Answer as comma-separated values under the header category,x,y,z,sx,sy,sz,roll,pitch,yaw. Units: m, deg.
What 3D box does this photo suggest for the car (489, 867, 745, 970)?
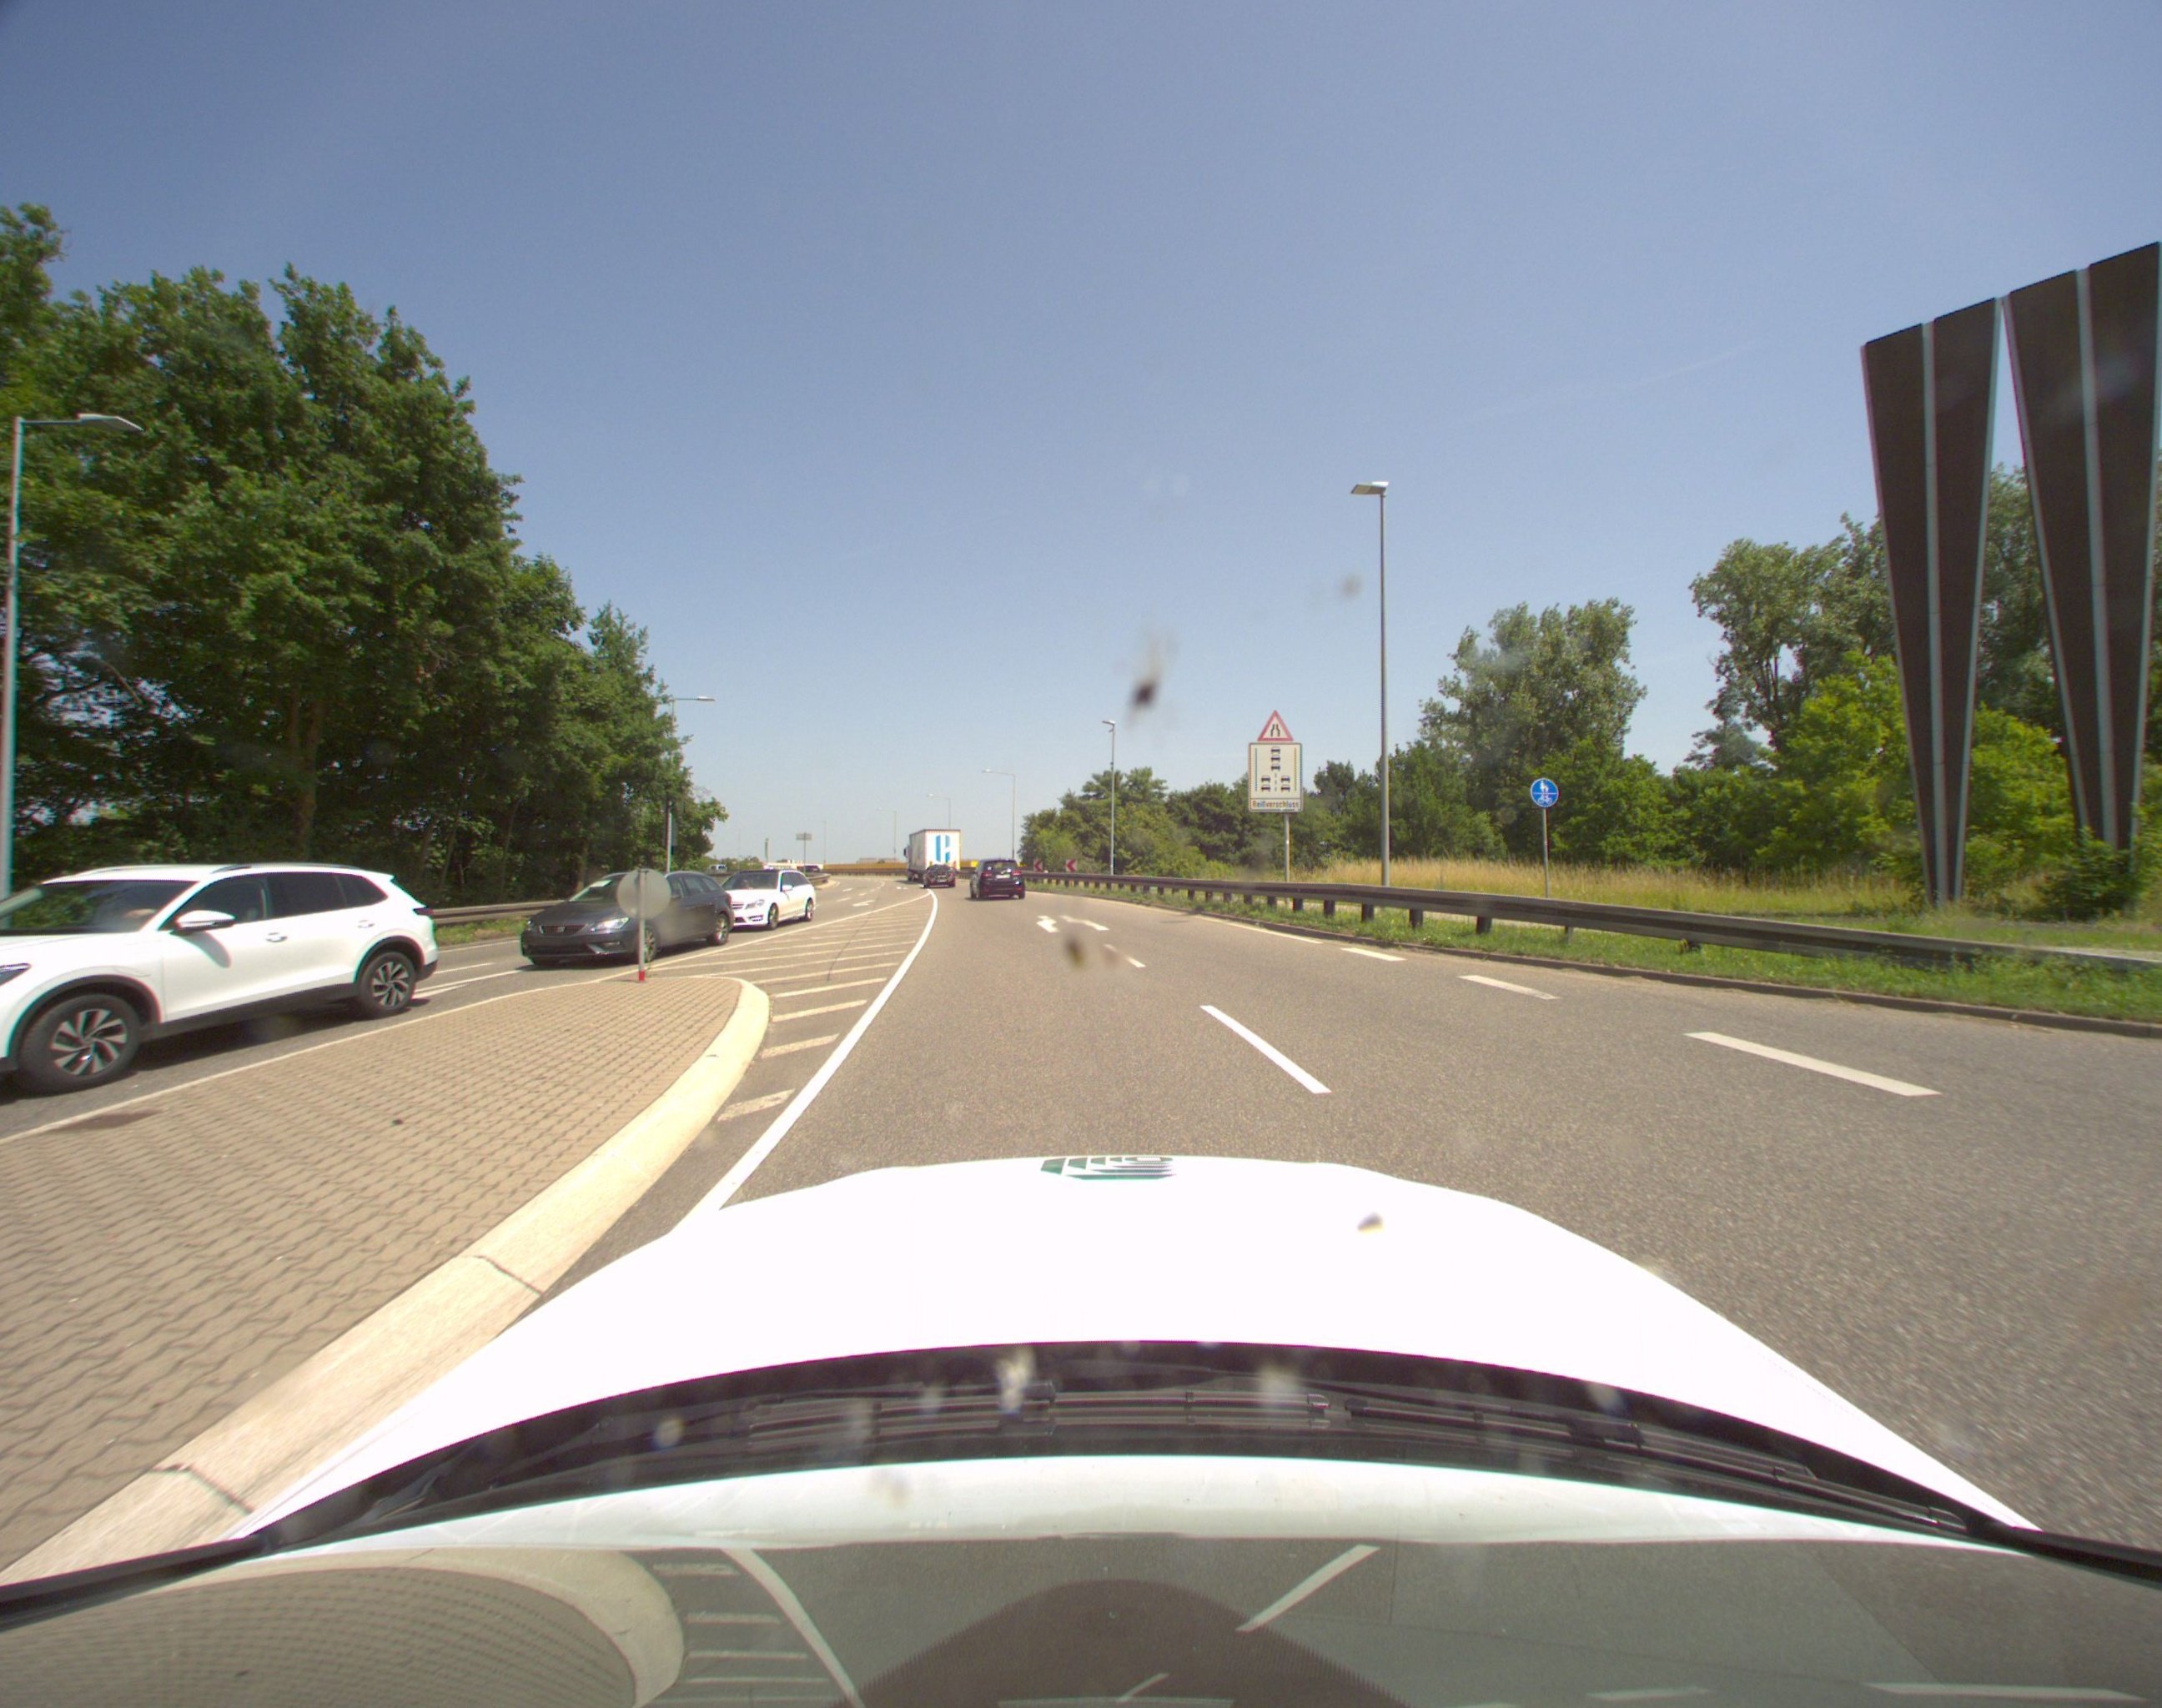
category,x,y,z,sx,sy,sz,roll,pitch,yaw
car,-7.686,0.969,14.116,1.822,1.406,4.545,-1,0,-1

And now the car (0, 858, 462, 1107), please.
category,x,y,z,sx,sy,sz,roll,pitch,yaw
car,-8.126,0.889,7.249,1.823,1.639,4.574,-2,0,-2

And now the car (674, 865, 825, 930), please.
category,x,y,z,sx,sy,sz,roll,pitch,yaw
car,-8.092,0.994,20.436,1.822,1.406,4.886,0,0,0

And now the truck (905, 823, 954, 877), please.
category,x,y,z,sx,sy,sz,roll,pitch,yaw
truck,-13.274,-0.343,70.894,3.581,4.441,6.477,0,-1,-17

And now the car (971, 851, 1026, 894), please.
category,x,y,z,sx,sy,sz,roll,pitch,yaw
car,-3.282,0.695,31.784,1.921,1.574,3.879,0,0,-9

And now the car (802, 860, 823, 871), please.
category,x,y,z,sx,sy,sz,roll,pitch,yaw
car,-38.305,1.652,116.138,1.853,1.508,3.596,0,-1,-34

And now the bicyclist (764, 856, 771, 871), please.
category,x,y,z,sx,sy,sz,roll,pitch,yaw
bicyclist,-41.484,1.274,107.717,0.629,1.886,0.704,0,-1,-38

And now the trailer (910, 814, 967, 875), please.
category,x,y,z,sx,sy,sz,roll,pitch,yaw
trailer,-11.410,-0.623,64.166,3.576,4.384,11.382,0,0,-15

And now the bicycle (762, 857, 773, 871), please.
category,x,y,z,sx,sy,sz,roll,pitch,yaw
bicycle,-41.497,1.341,107.753,0.703,1.801,2.156,0,-1,-38

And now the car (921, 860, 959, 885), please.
category,x,y,z,sx,sy,sz,roll,pitch,yaw
car,-8.530,1.070,49.007,2.014,1.429,3.759,0,0,-14
